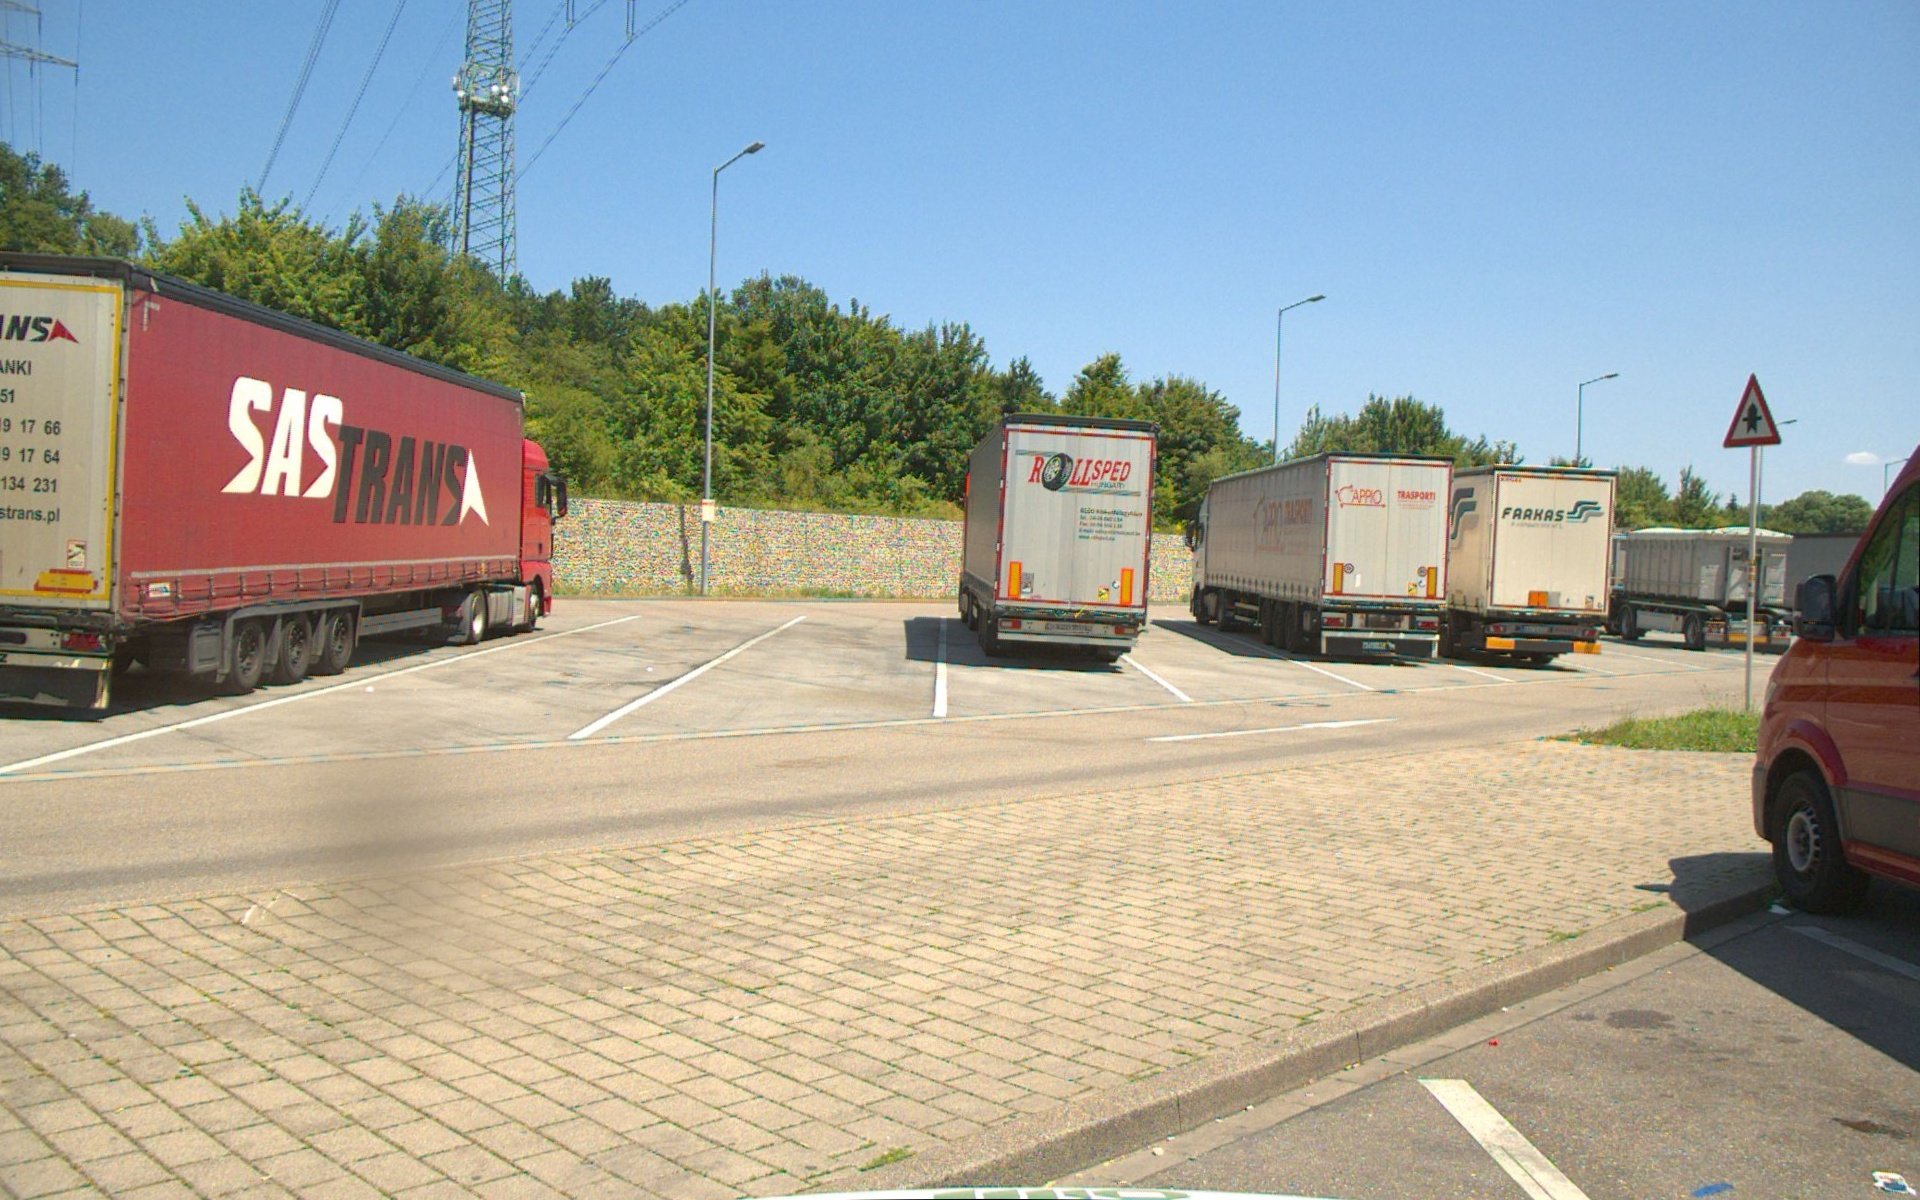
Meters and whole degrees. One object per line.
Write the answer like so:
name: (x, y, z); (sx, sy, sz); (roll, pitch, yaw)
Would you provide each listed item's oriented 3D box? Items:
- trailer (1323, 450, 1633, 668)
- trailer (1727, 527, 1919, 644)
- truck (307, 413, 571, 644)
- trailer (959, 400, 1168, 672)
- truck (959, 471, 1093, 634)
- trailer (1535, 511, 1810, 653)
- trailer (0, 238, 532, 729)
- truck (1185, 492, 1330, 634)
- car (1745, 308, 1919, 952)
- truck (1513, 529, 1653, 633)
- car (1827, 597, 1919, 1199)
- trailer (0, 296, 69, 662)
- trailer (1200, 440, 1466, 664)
trailer: (11.766, -1.023, 39.636); (2.781, 4.204, 13.722); (2, 2, -1)
trailer: (34.935, -0.658, 65.415); (2.780, 4.119, 13.726); (2, 2, 1)
truck: (-8.797, -1.206, 28.624); (2.794, 3.487, 5.482); (2, 2, -1)
trailer: (1.645, -1.234, 33.242); (2.848, 4.204, 13.720); (2, 2, -1)
truck: (1.477, -1.147, 39.851); (2.794, 3.544, 5.482); (2, 2, -1)
trailer: (21.923, -0.694, 52.211); (2.780, 3.781, 13.726); (2, 2, 1)
trailer: (-8.683, -1.296, 21.188); (2.848, 4.203, 13.723); (2, 2, -1)
truck: (8.091, -1.043, 45.640); (2.794, 3.544, 5.482); (2, 2, -1)
car: (5.007, 0.162, 5.563); (2.023, 2.742, 6.397); (1, 1, 4)
truck: (22.003, -0.725, 58.715); (2.794, 3.423, 5.484); (2, 2, 0)
car: (2.596, 0.797, 1.158); (1.703, 1.508, 3.813); (1, 1, -6)
trailer: (-12.528, -1.306, 15.705); (2.673, 4.282, 10.170); (2, 2, -1)
trailer: (8.206, -1.143, 38.831); (2.781, 4.204, 13.722); (2, 2, -1)
